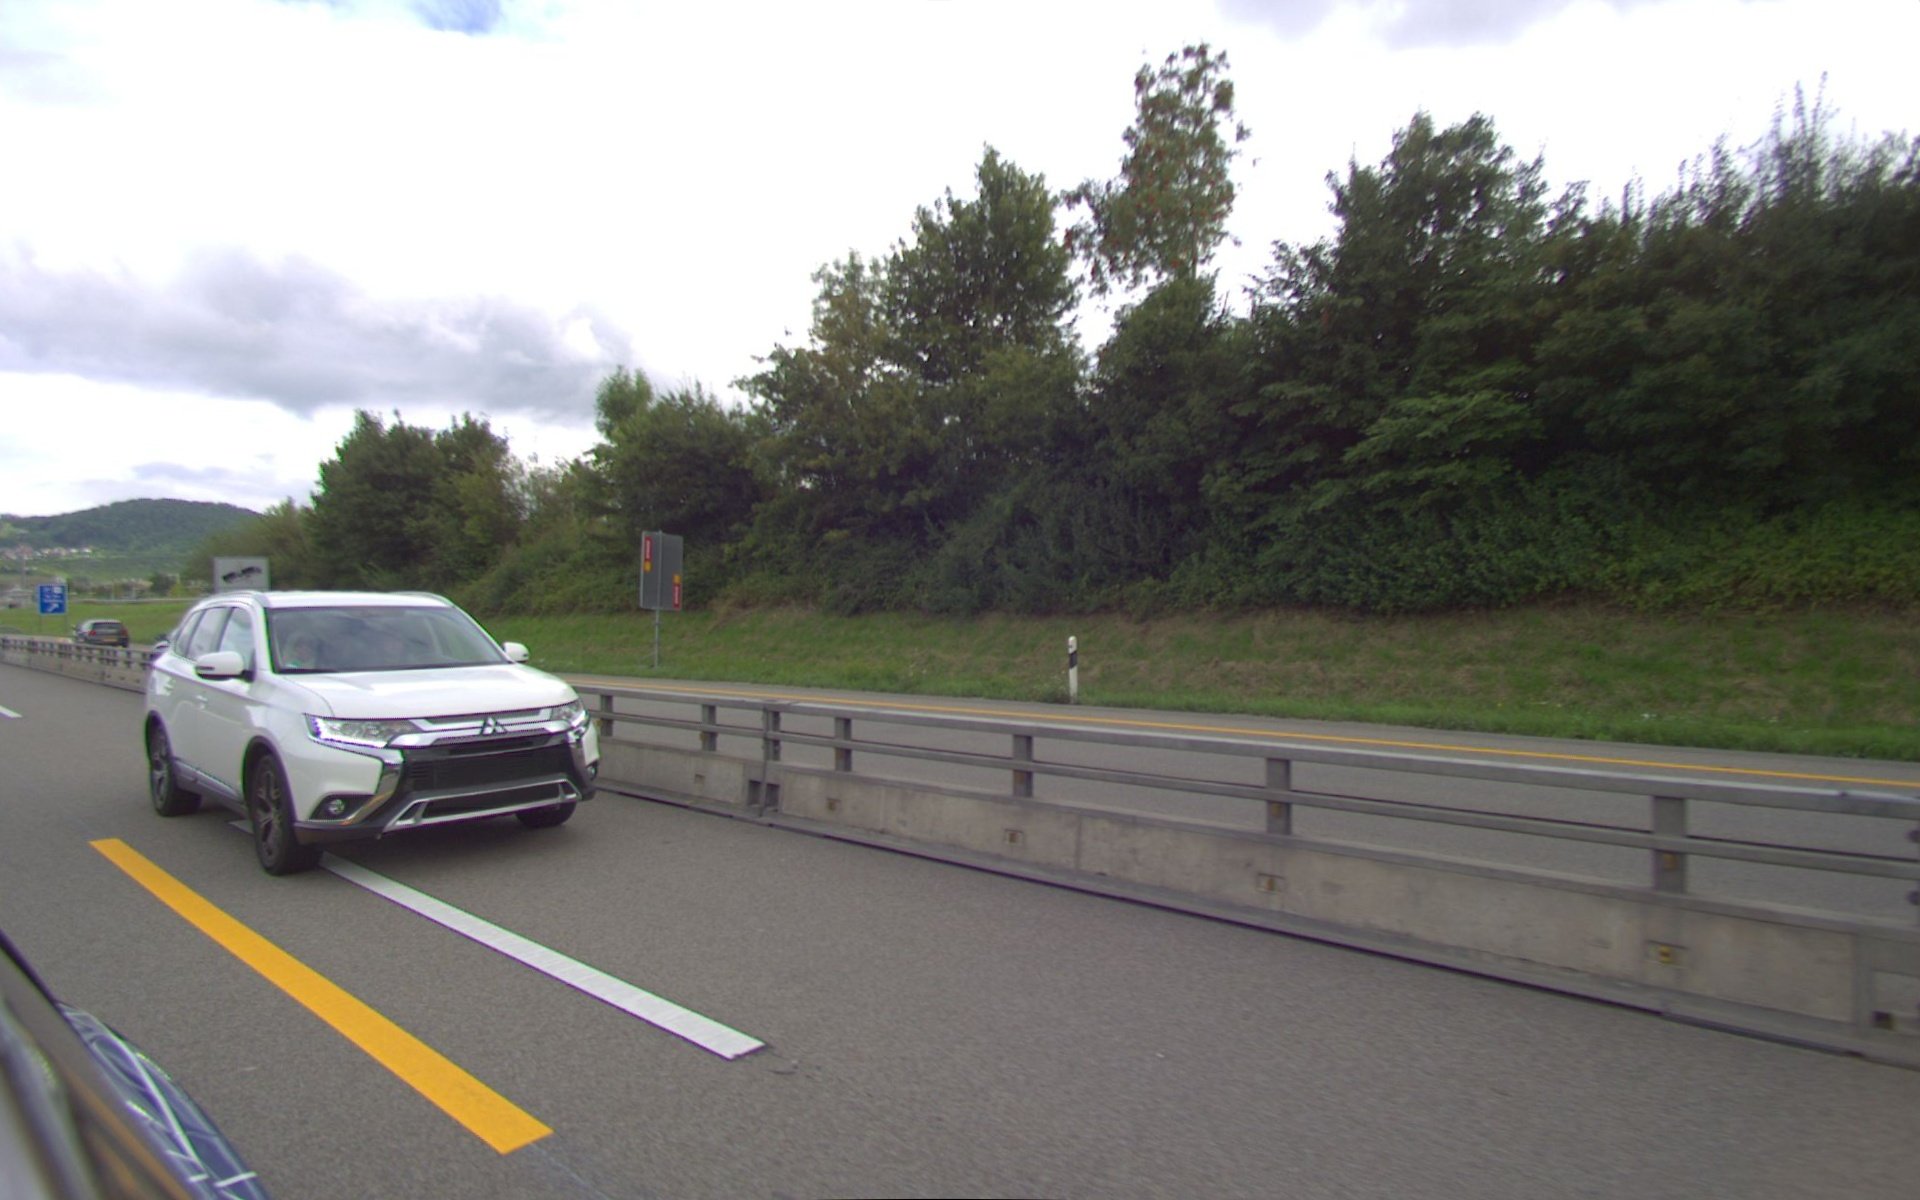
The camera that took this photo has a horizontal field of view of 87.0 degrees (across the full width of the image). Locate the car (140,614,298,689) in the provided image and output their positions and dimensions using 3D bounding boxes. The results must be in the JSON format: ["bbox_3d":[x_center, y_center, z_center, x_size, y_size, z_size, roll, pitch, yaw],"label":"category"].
[{"bbox_3d":[-16.883,1.095,22.959,4.900,1.511,1.977,-1,-1,42],"label":"car"}]

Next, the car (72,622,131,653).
[{"bbox_3d":[-42.144,1.822,49.663,3.785,1.451,1.651,-1,-1,41],"label":"car"}]

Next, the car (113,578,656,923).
[{"bbox_3d":[-4.256,0.767,7.118,4.605,1.640,1.972,-1,-2,42],"label":"car"}]
